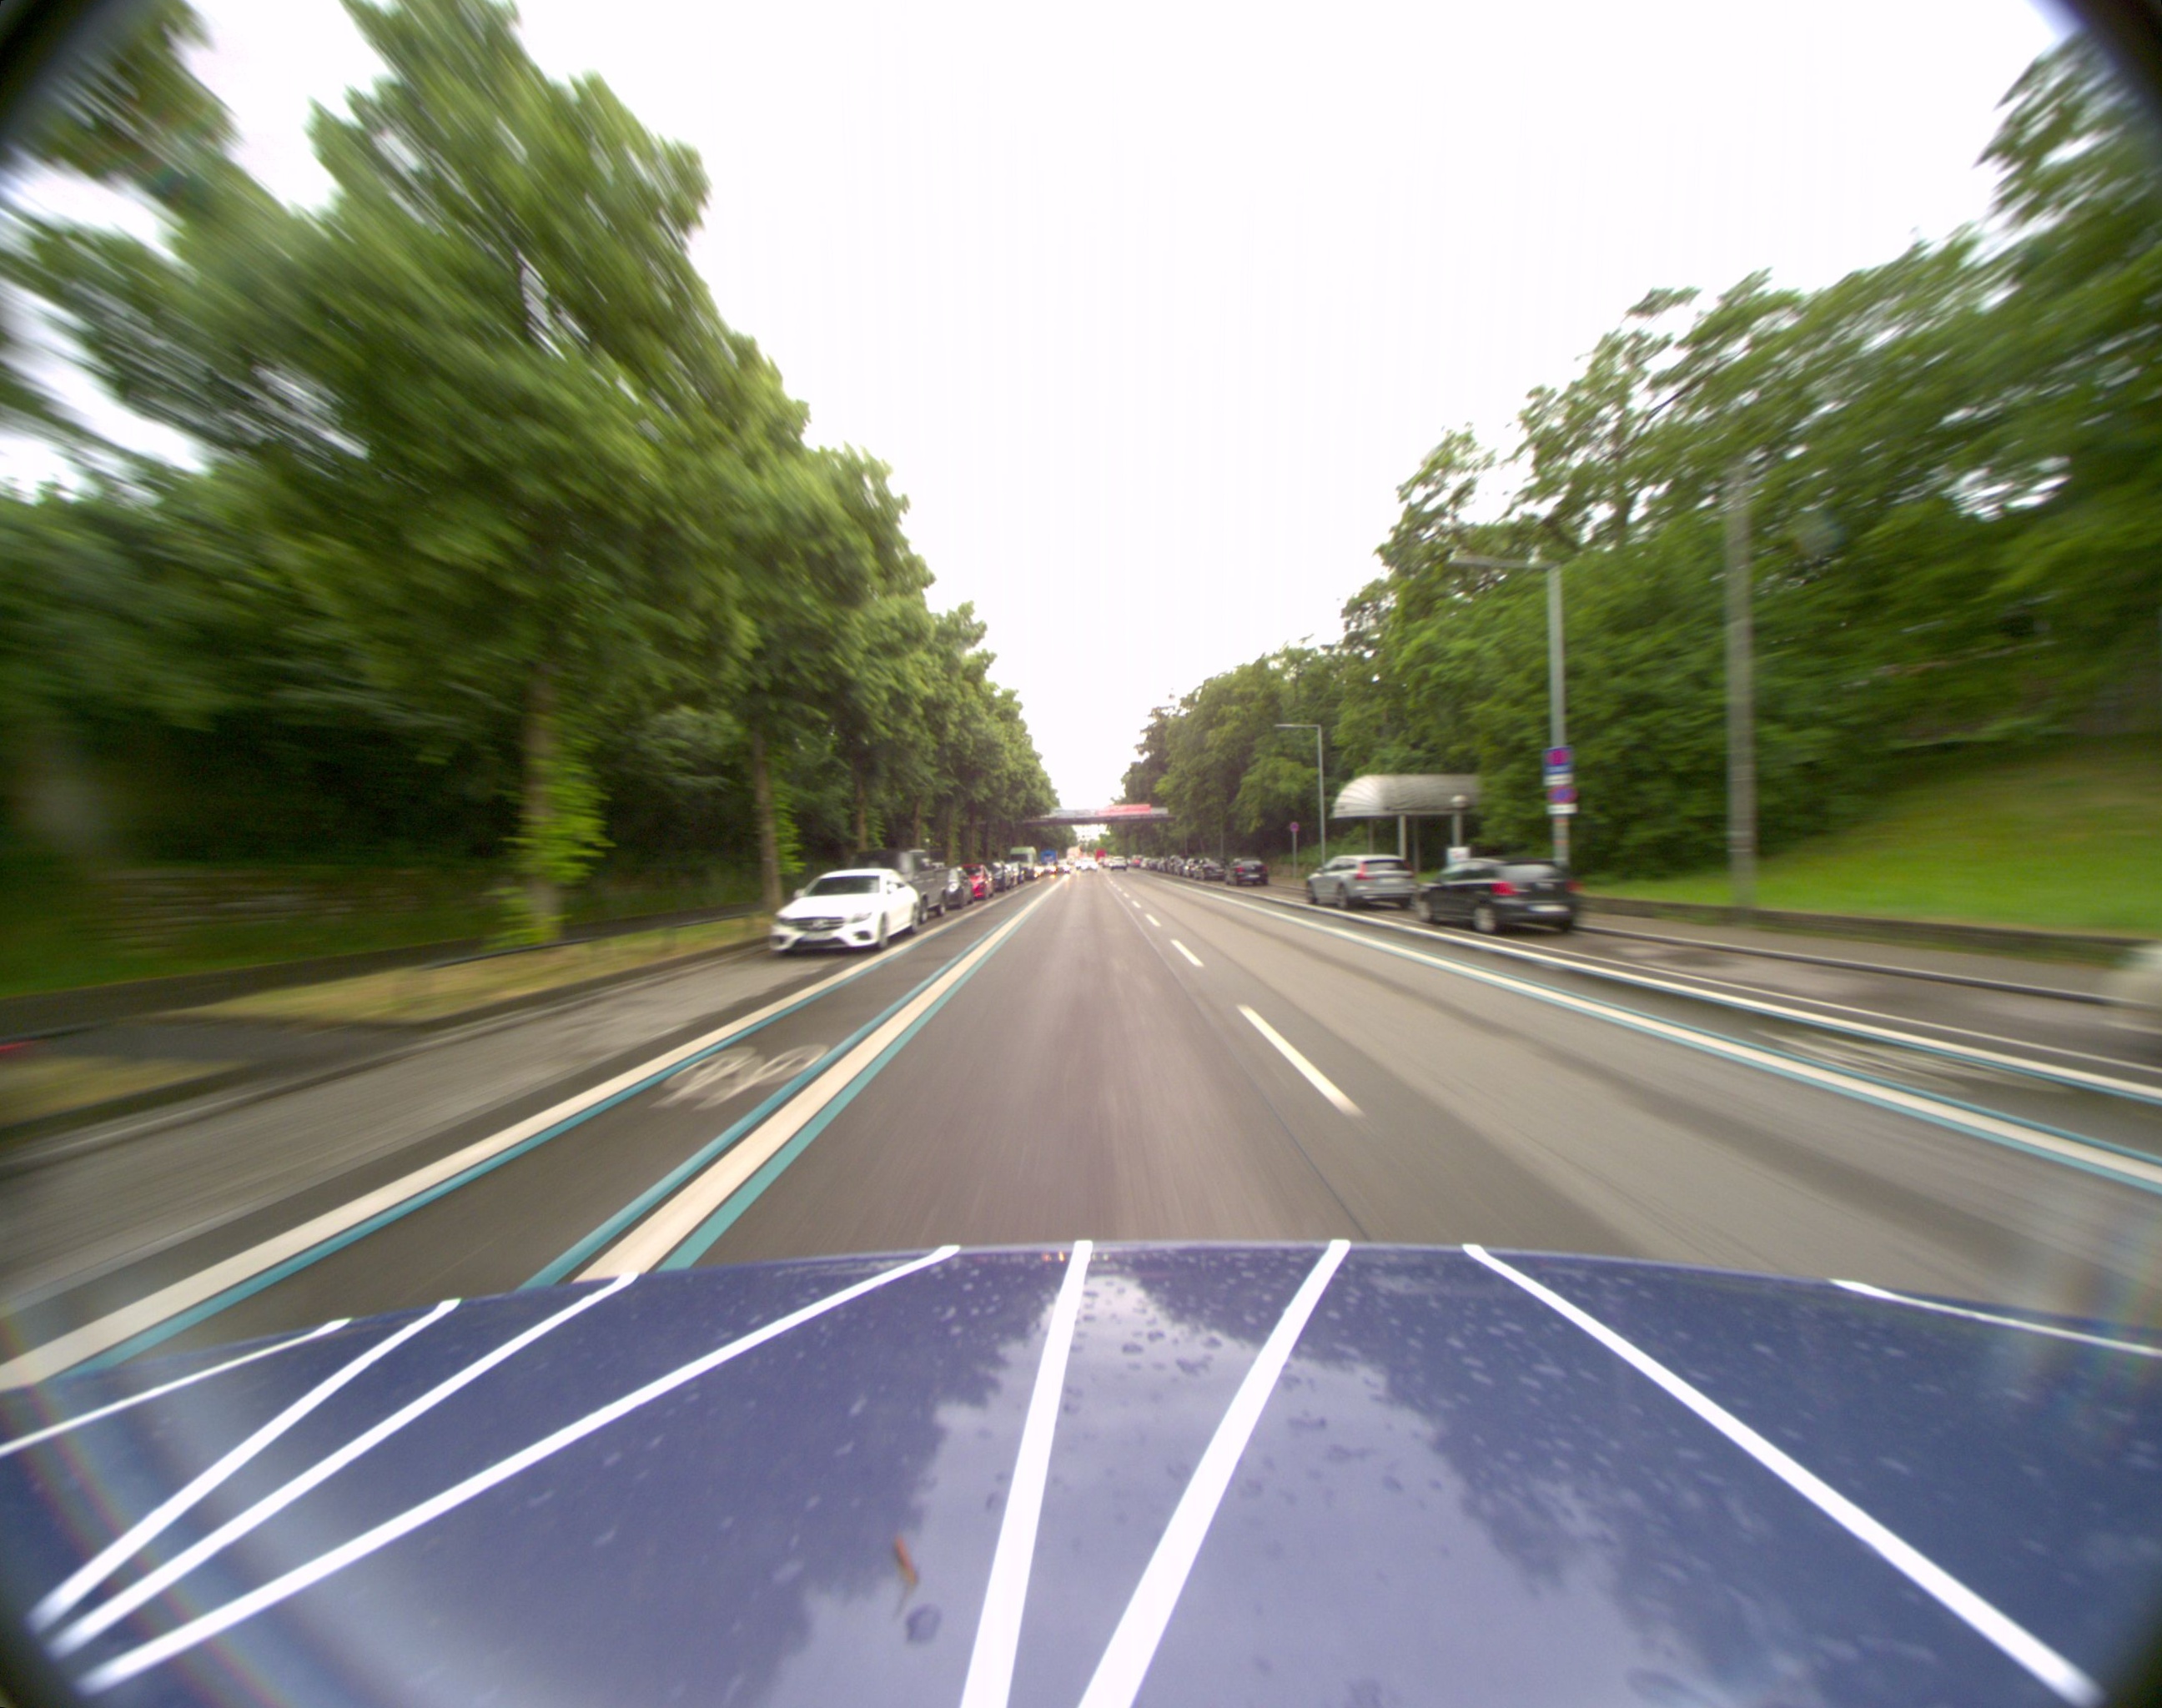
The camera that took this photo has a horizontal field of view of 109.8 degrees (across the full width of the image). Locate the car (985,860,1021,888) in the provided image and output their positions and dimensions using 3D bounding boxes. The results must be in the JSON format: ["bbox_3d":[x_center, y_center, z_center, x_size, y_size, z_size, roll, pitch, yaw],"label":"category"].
[{"bbox_3d":[-4.456,1.117,43.843,1.690,1.447,4.145,-3,0,-2],"label":"car"}]

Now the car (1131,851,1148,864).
[{"bbox_3d":[9.623,0.650,125.602,1.979,1.993,5.017,-3,0,-4],"label":"car"}]

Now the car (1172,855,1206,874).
[{"bbox_3d":[8.888,0.839,62.840,1.989,1.464,4.897,-2,-1,0],"label":"car"}]

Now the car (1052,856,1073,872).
[{"bbox_3d":[-1.856,1.008,76.434,1.822,1.499,4.139,-2,0,2],"label":"car"}]

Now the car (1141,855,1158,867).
[{"bbox_3d":[8.977,0.898,99.780,1.794,1.473,3.982,-1,-1,-1],"label":"car"}]

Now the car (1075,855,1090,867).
[{"bbox_3d":[0.252,0.912,104.395,1.998,1.629,4.000,-1,0,1],"label":"car"}]

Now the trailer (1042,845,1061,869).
[{"bbox_3d":[-3.464,0.343,90.903,1.957,2.742,4.007,-2,0,1],"label":"trailer"}]

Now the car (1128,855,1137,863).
[{"bbox_3d":[10.208,0.971,150.530,1.694,1.397,4.028,-3,-1,2],"label":"car"}]

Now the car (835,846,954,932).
[{"bbox_3d":[-4.858,0.833,20.520,1.931,2.010,4.663,-1,0,1],"label":"car"}]

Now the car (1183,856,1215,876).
[{"bbox_3d":[8.813,0.891,56.930,1.788,1.415,4.296,-1,-1,1],"label":"car"}]

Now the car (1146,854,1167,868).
[{"bbox_3d":[8.835,0.826,89.296,1.836,1.468,4.040,-1,-1,-2],"label":"car"}]

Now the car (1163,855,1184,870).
[{"bbox_3d":[8.992,0.833,74.312,1.613,1.430,3.844,-1,-1,1],"label":"car"}]

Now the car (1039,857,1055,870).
[{"bbox_3d":[-3.760,1.010,84.042,1.588,1.345,3.862,-3,0,-2],"label":"car"}]

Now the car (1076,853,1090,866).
[{"bbox_3d":[0.277,0.785,104.070,1.850,1.718,3.730,-2,0,1],"label":"car"}]

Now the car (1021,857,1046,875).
[{"bbox_3d":[-4.153,1.036,66.907,1.690,1.408,4.100,-2,0,2],"label":"car"}]

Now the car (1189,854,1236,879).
[{"bbox_3d":[8.474,0.786,49.384,1.961,1.454,4.756,-2,0,-2],"label":"car"}]

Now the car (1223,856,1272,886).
[{"bbox_3d":[8.703,0.851,40.027,1.675,1.449,3.993,-1,0,0],"label":"car"}]

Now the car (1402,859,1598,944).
[{"bbox_3d":[8.207,0.851,15.348,1.700,1.428,4.054,-1,0,0],"label":"car"}]

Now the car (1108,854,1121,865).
[{"bbox_3d":[5.089,0.788,115.485,1.926,1.551,4.621,0,0,1],"label":"car"}]

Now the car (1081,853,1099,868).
[{"bbox_3d":[1.015,0.682,85.888,1.998,1.588,4.000,-2,0,1],"label":"car"}]

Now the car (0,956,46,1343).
[{"bbox_3d":[-4.964,1.160,0.849,1.735,1.455,4.277,-3,0,-1],"label":"car"}]

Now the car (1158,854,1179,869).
[{"bbox_3d":[9.055,0.774,78.785,1.692,1.537,4.233,-1,-1,0],"label":"car"}]

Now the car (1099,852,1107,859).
[{"bbox_3d":[5.101,0.322,177.155,1.838,1.657,4.180,0,0,0],"label":"car"}]

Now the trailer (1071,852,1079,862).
[{"bbox_3d":[-1.718,0.892,213.713,1.988,2.550,3.999,-2,0,-2],"label":"trailer"}]

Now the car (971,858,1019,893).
[{"bbox_3d":[-4.308,1.034,38.559,1.760,1.580,4.498,-3,0,1],"label":"car"}]

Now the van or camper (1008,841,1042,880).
[{"bbox_3d":[-4.307,0.496,59.278,2.047,2.713,6.900,-3,0,0],"label":"van or camper"}]

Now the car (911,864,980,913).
[{"bbox_3d":[-4.558,1.121,26.039,1.610,1.444,3.747,-3,0,0],"label":"car"}]

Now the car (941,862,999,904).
[{"bbox_3d":[-4.451,1.126,30.946,1.690,1.444,4.165,-3,0,0],"label":"car"}]

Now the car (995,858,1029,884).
[{"bbox_3d":[-4.468,1.085,49.606,1.690,1.505,3.835,-3,0,1],"label":"car"}]

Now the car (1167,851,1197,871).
[{"bbox_3d":[9.102,0.653,68.945,1.995,1.731,4.838,-1,-1,0],"label":"car"}]

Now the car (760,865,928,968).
[{"bbox_3d":[-4.436,1.082,15.085,1.794,1.534,4.888,-3,0,-1],"label":"car"}]

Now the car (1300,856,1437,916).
[{"bbox_3d":[8.096,0.826,21.966,2.082,1.473,4.672,-2,0,-1],"label":"car"}]

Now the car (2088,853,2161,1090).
[{"bbox_3d":[8.246,0.788,3.009,1.995,1.596,4.985,-1,0,2],"label":"car"}]

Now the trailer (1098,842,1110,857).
[{"bbox_3d":[6.413,-1.201,210.276,2.695,4.234,12.767,1,0,-1],"label":"trailer"}]

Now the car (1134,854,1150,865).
[{"bbox_3d":[9.353,0.812,116.586,2.015,1.596,4.779,-1,-1,0],"label":"car"}]

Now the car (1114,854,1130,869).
[{"bbox_3d":[4.832,0.880,89.655,1.800,1.642,4.129,0,0,1],"label":"car"}]
